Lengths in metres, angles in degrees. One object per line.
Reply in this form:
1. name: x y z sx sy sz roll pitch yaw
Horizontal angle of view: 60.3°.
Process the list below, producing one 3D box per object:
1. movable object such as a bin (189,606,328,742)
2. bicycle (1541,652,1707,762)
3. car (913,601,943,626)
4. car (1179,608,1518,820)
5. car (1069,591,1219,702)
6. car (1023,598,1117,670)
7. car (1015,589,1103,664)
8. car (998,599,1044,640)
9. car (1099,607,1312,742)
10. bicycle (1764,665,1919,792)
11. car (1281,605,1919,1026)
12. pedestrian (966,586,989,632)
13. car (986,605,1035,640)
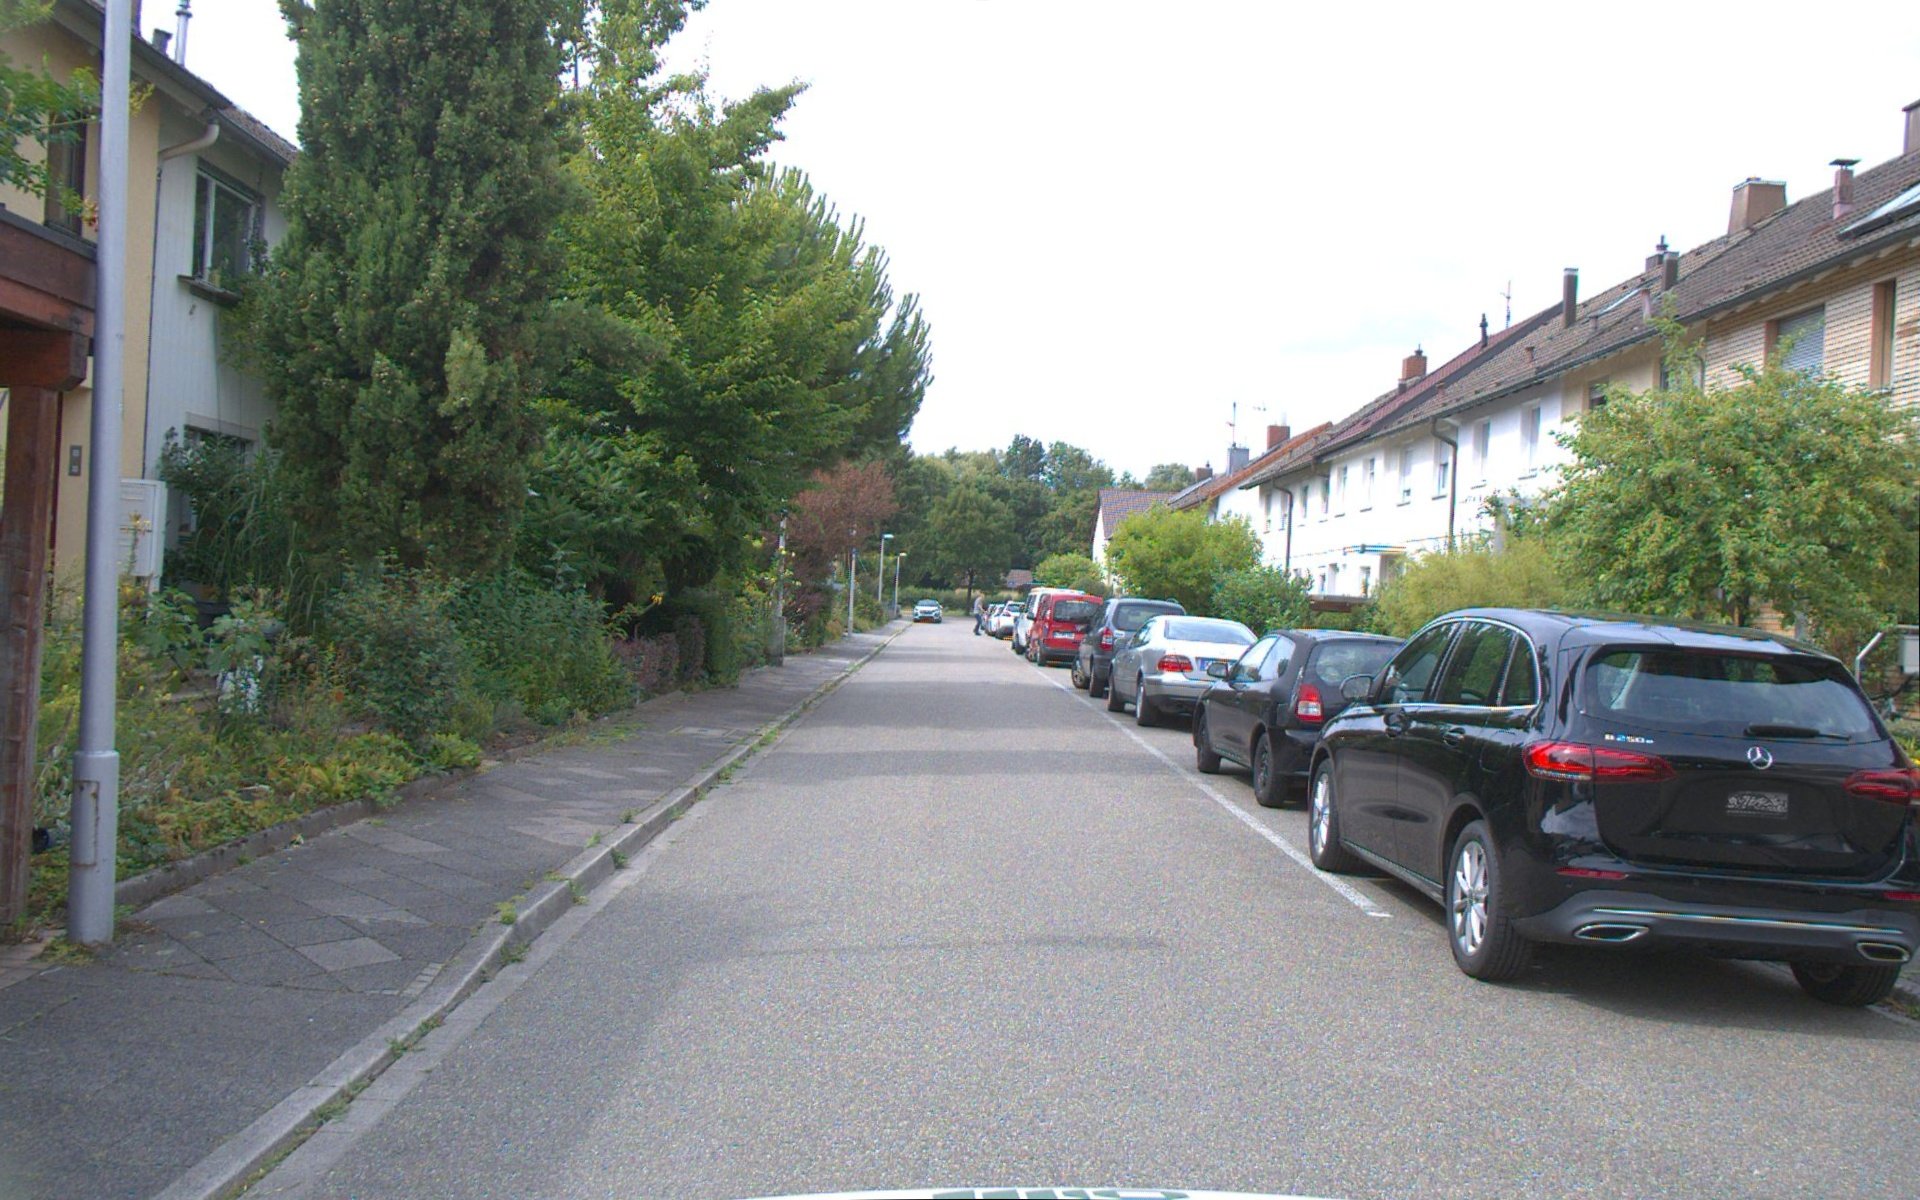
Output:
1. movable object such as a bin: -5.280 0.543 12.484 0.697 0.973 0.751 2 0 -1
2. bicycle: 6.804 1.091 16.990 1.506 1.041 0.376 2 0 4
3. car: -2.127 0.906 112.010 1.894 1.583 4.634 2 0 0
4. car: 3.119 0.846 14.145 1.698 1.453 4.123 3 0 -3
5. car: 3.062 0.739 28.452 1.830 1.682 4.462 3 0 -3
6. car: 2.769 0.834 42.617 1.775 1.679 4.407 2 0 -4
7. car: 2.793 0.735 47.617 1.980 1.981 4.745 2 0 -3
8. car: 2.467 0.776 67.266 1.679 1.570 3.973 2 0 0
9. car: 3.113 0.898 22.011 1.831 1.431 4.765 4 0 -3
10. bicycle: 8.253 1.142 15.022 0.649 0.999 1.743 2 0 -20
11. car: 3.018 0.819 8.486 1.714 1.492 4.647 3 0 -1
12. pedestrian: 0.765 0.406 74.357 0.894 2.049 0.950 2 0 -4
13. car: 2.259 0.994 74.812 1.801 1.437 4.634 2 0 -3
